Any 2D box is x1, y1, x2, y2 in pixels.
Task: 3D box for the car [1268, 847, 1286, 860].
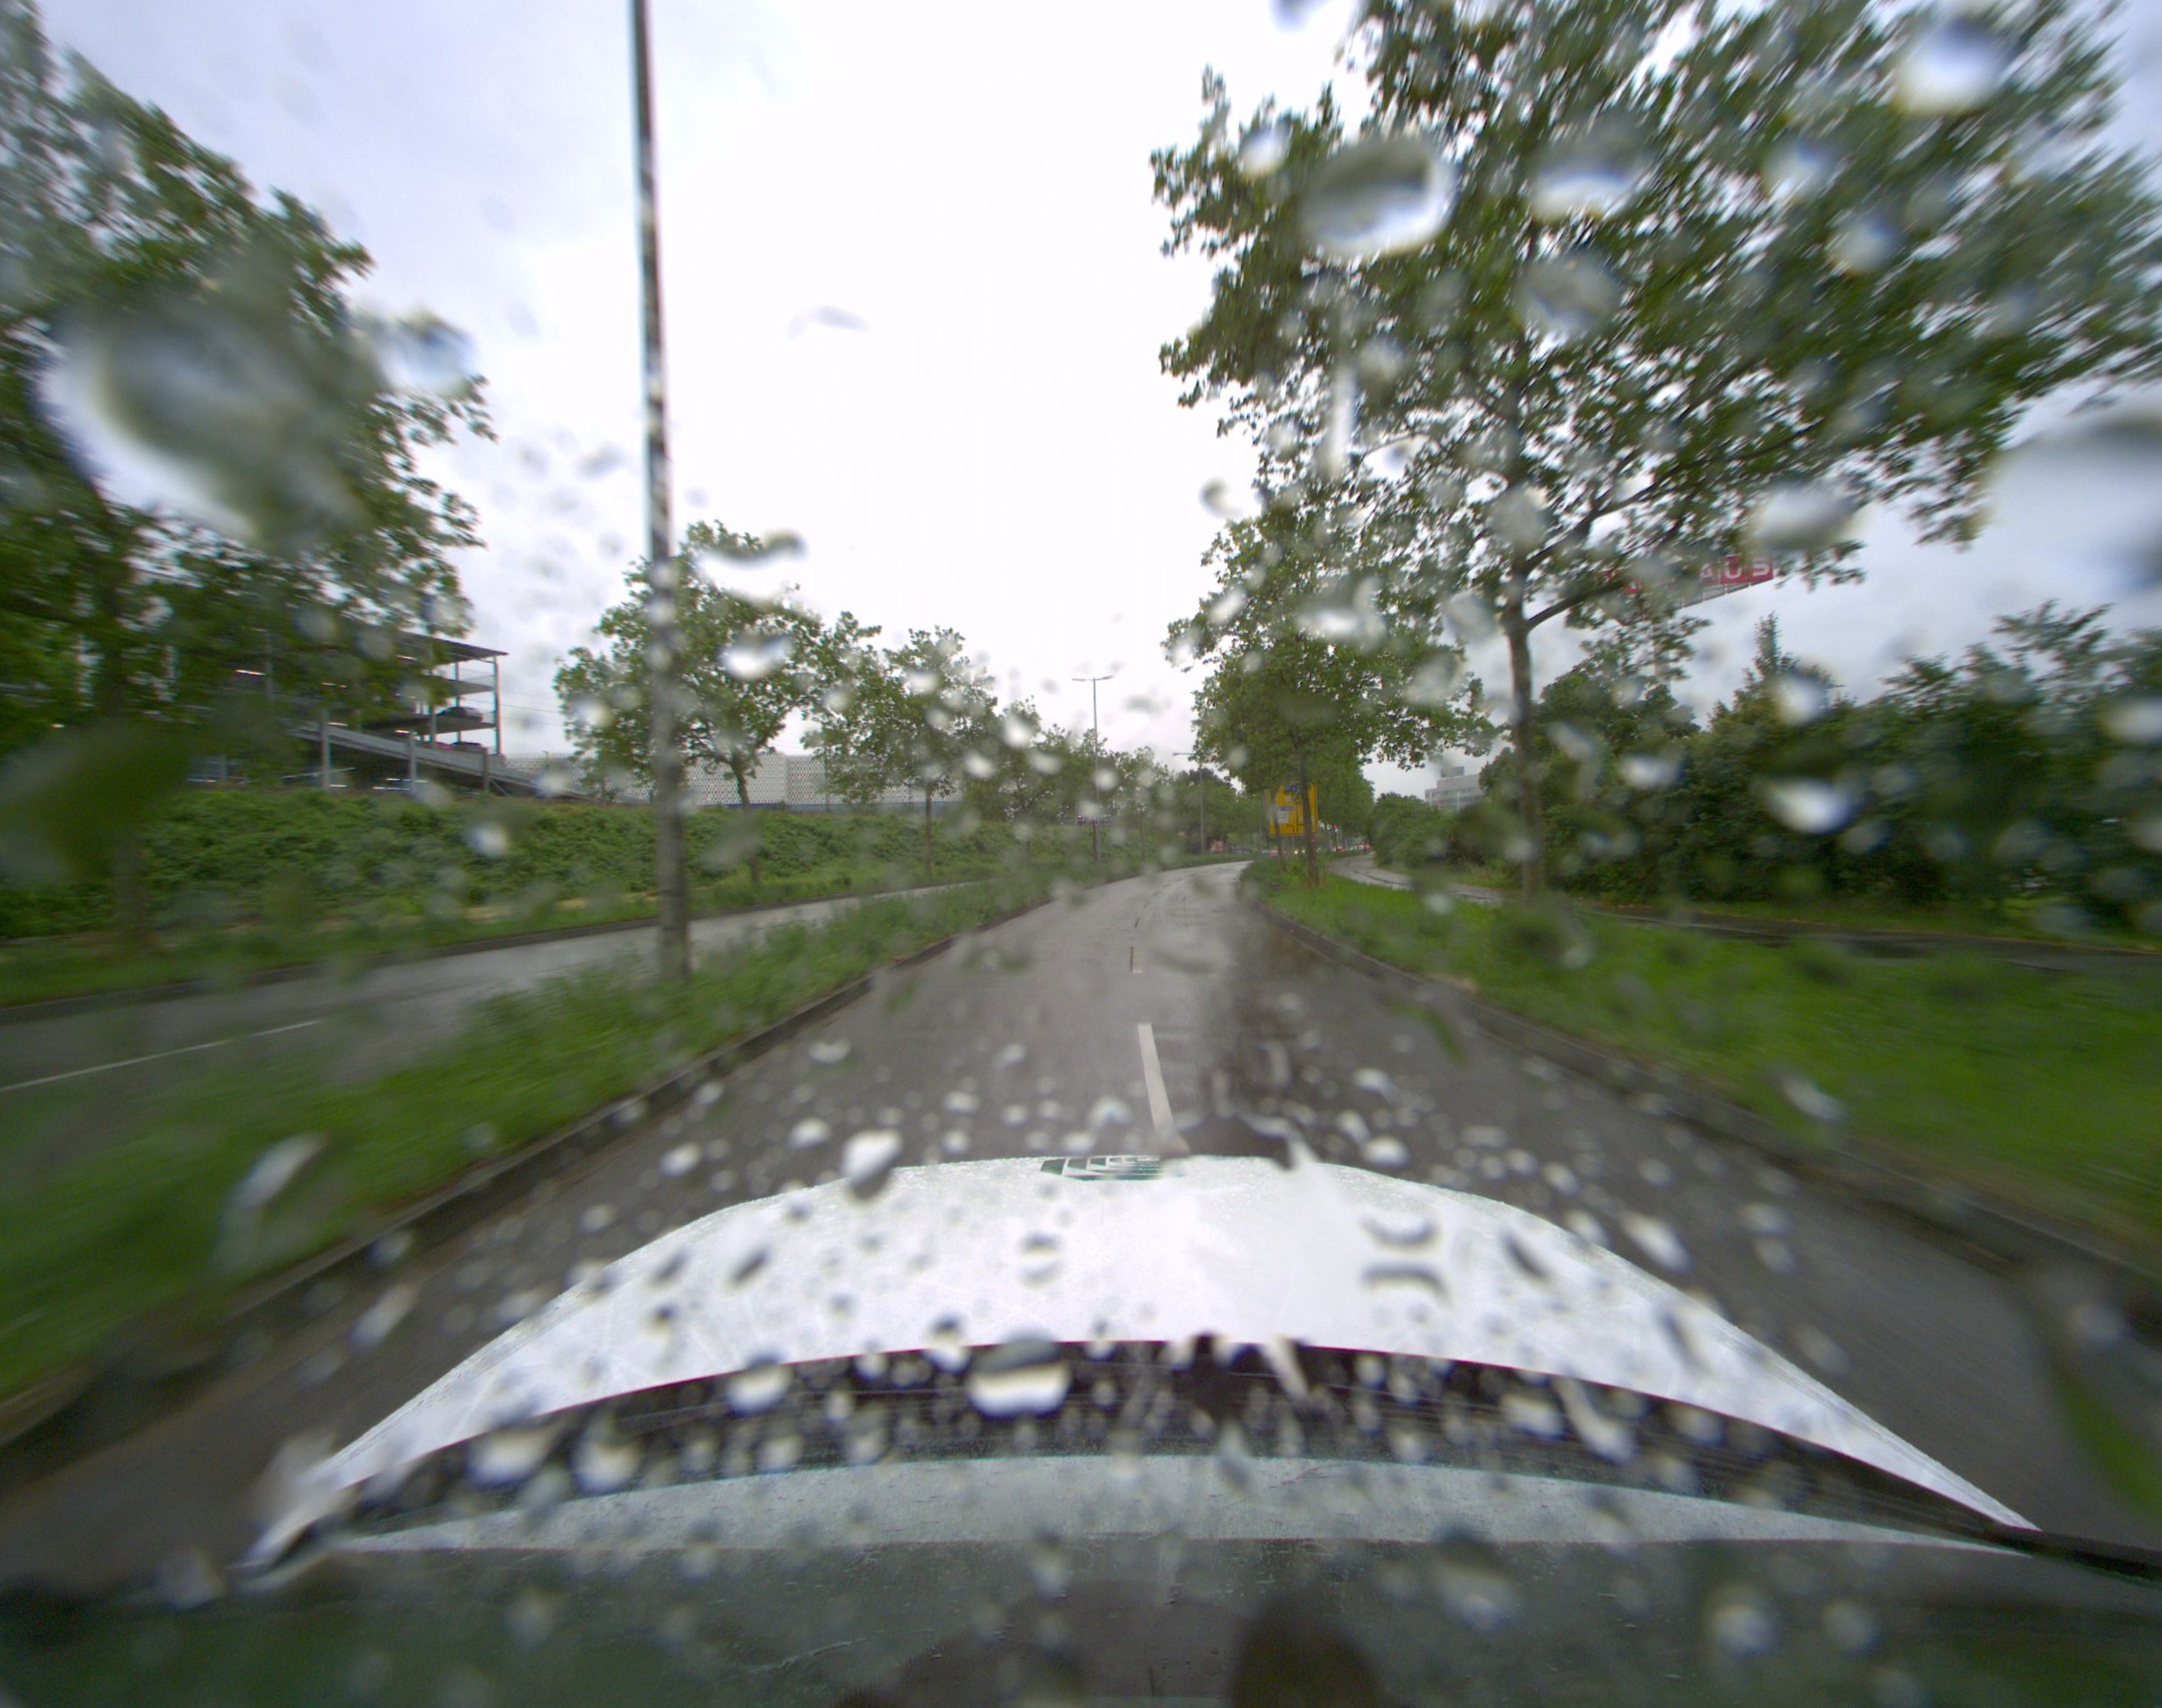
[{"bbox_3d":[24.553,-0.096,101.849,1.765,1.555,4.019,0,0,19],"label":"car"}]
